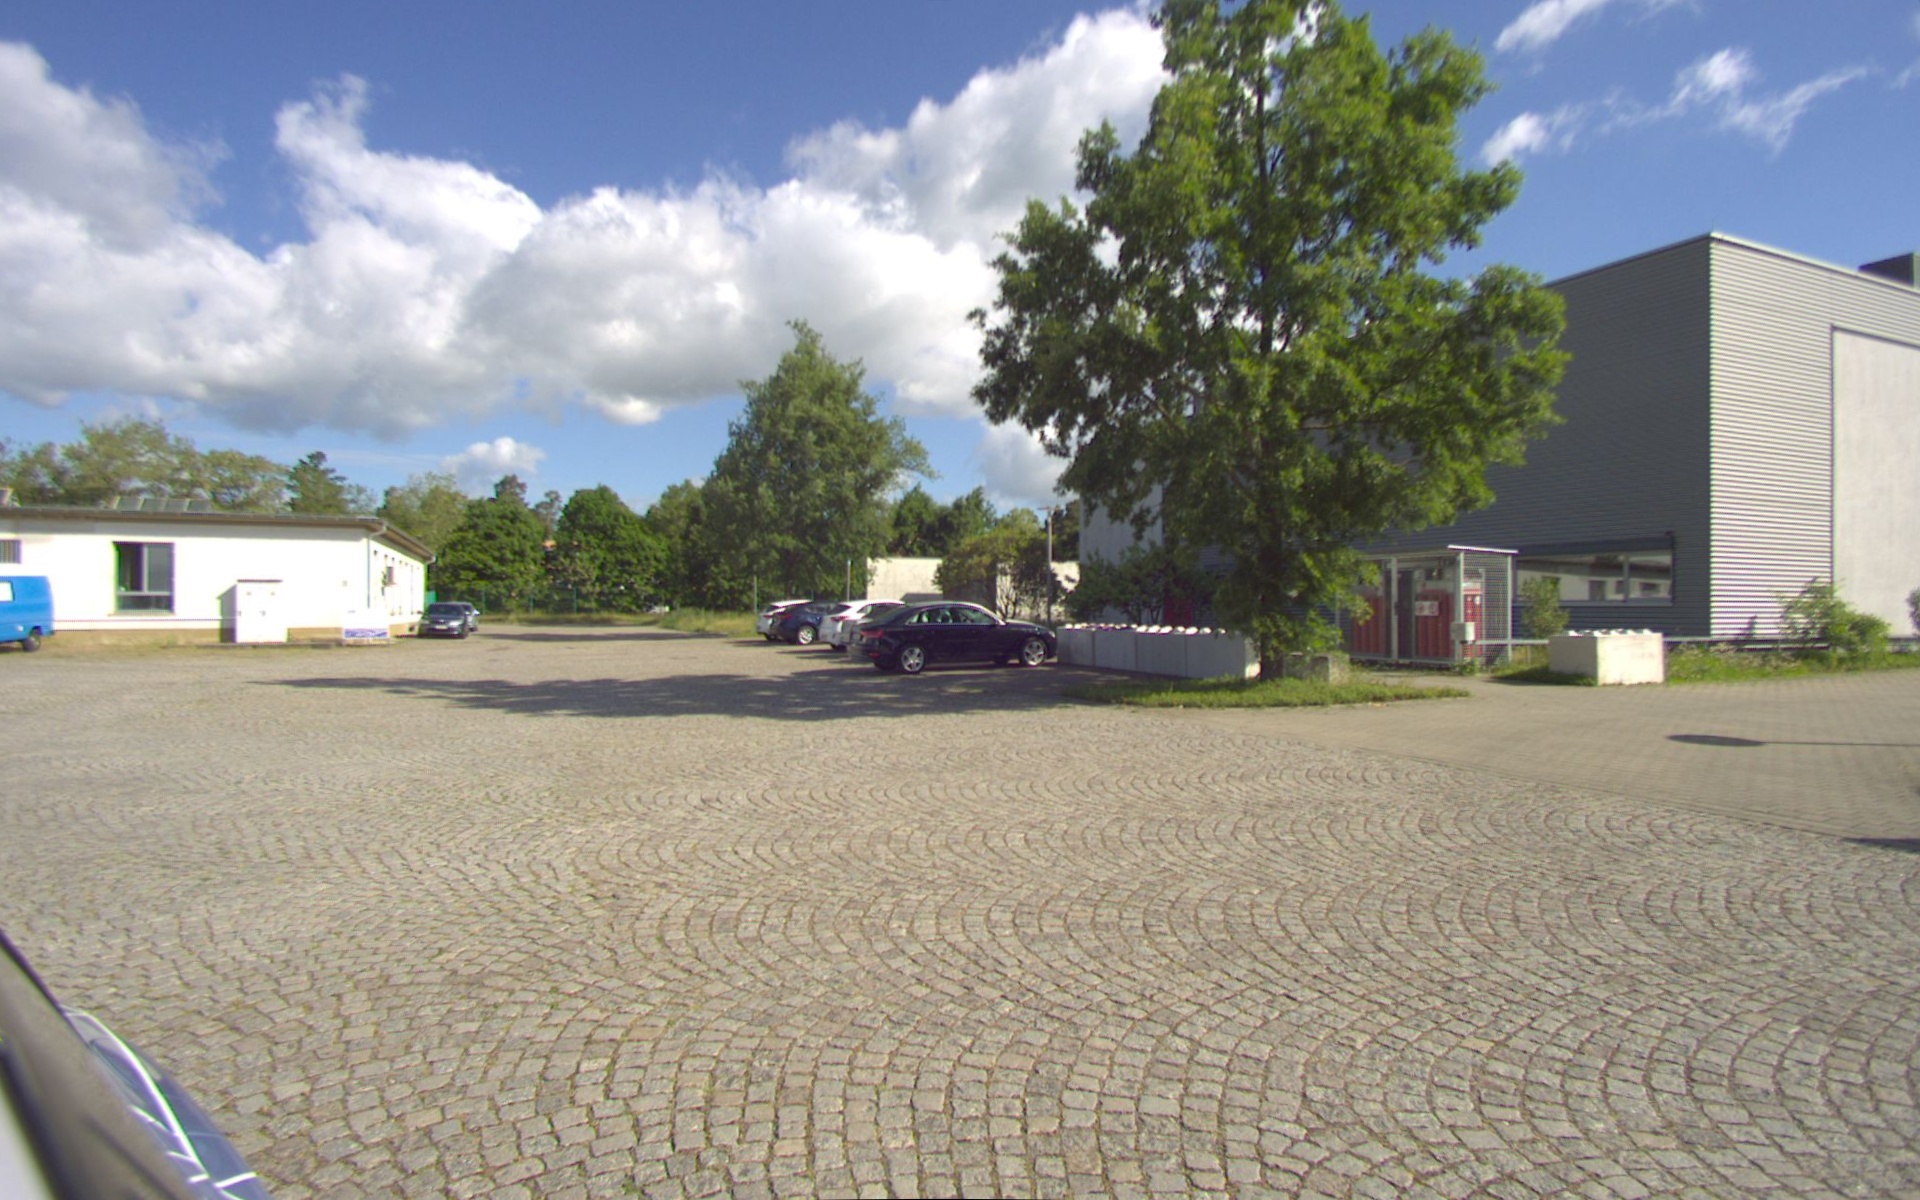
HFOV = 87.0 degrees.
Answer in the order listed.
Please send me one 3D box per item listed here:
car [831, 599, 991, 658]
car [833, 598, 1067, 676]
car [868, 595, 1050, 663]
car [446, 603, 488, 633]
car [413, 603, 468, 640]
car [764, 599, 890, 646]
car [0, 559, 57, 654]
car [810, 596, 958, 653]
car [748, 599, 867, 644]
[{"bbox_3d":[-1.312,0.716,26.892,3.857,1.382,1.734,-2,0,-23],"label":"car"},{"bbox_3d":[-0.196,0.735,21.698,4.652,1.434,1.763,-2,0,-25],"label":"car"},{"bbox_3d":[-0.045,0.661,24.752,4.080,1.471,1.697,-2,0,-18],"label":"car"},{"bbox_3d":[-25.083,0.922,51.586,1.663,1.446,4.000,1,-1,-23],"label":"car"},{"bbox_3d":[-21.353,0.858,41.711,1.738,1.446,4.005,1,-1,-23],"label":"car"},{"bbox_3d":[-4.462,0.727,34.003,3.857,1.428,1.698,-2,0,-23],"label":"car"},{"bbox_3d":[-26.441,0.152,26.756,2.053,2.501,5.256,0,1,-21],"label":"car"},{"bbox_3d":[-2.206,0.675,29.285,3.857,1.457,1.761,-2,0,-23],"label":"car"},{"bbox_3d":[-5.483,0.743,36.408,3.857,1.446,1.802,-2,0,-23],"label":"car"}]
